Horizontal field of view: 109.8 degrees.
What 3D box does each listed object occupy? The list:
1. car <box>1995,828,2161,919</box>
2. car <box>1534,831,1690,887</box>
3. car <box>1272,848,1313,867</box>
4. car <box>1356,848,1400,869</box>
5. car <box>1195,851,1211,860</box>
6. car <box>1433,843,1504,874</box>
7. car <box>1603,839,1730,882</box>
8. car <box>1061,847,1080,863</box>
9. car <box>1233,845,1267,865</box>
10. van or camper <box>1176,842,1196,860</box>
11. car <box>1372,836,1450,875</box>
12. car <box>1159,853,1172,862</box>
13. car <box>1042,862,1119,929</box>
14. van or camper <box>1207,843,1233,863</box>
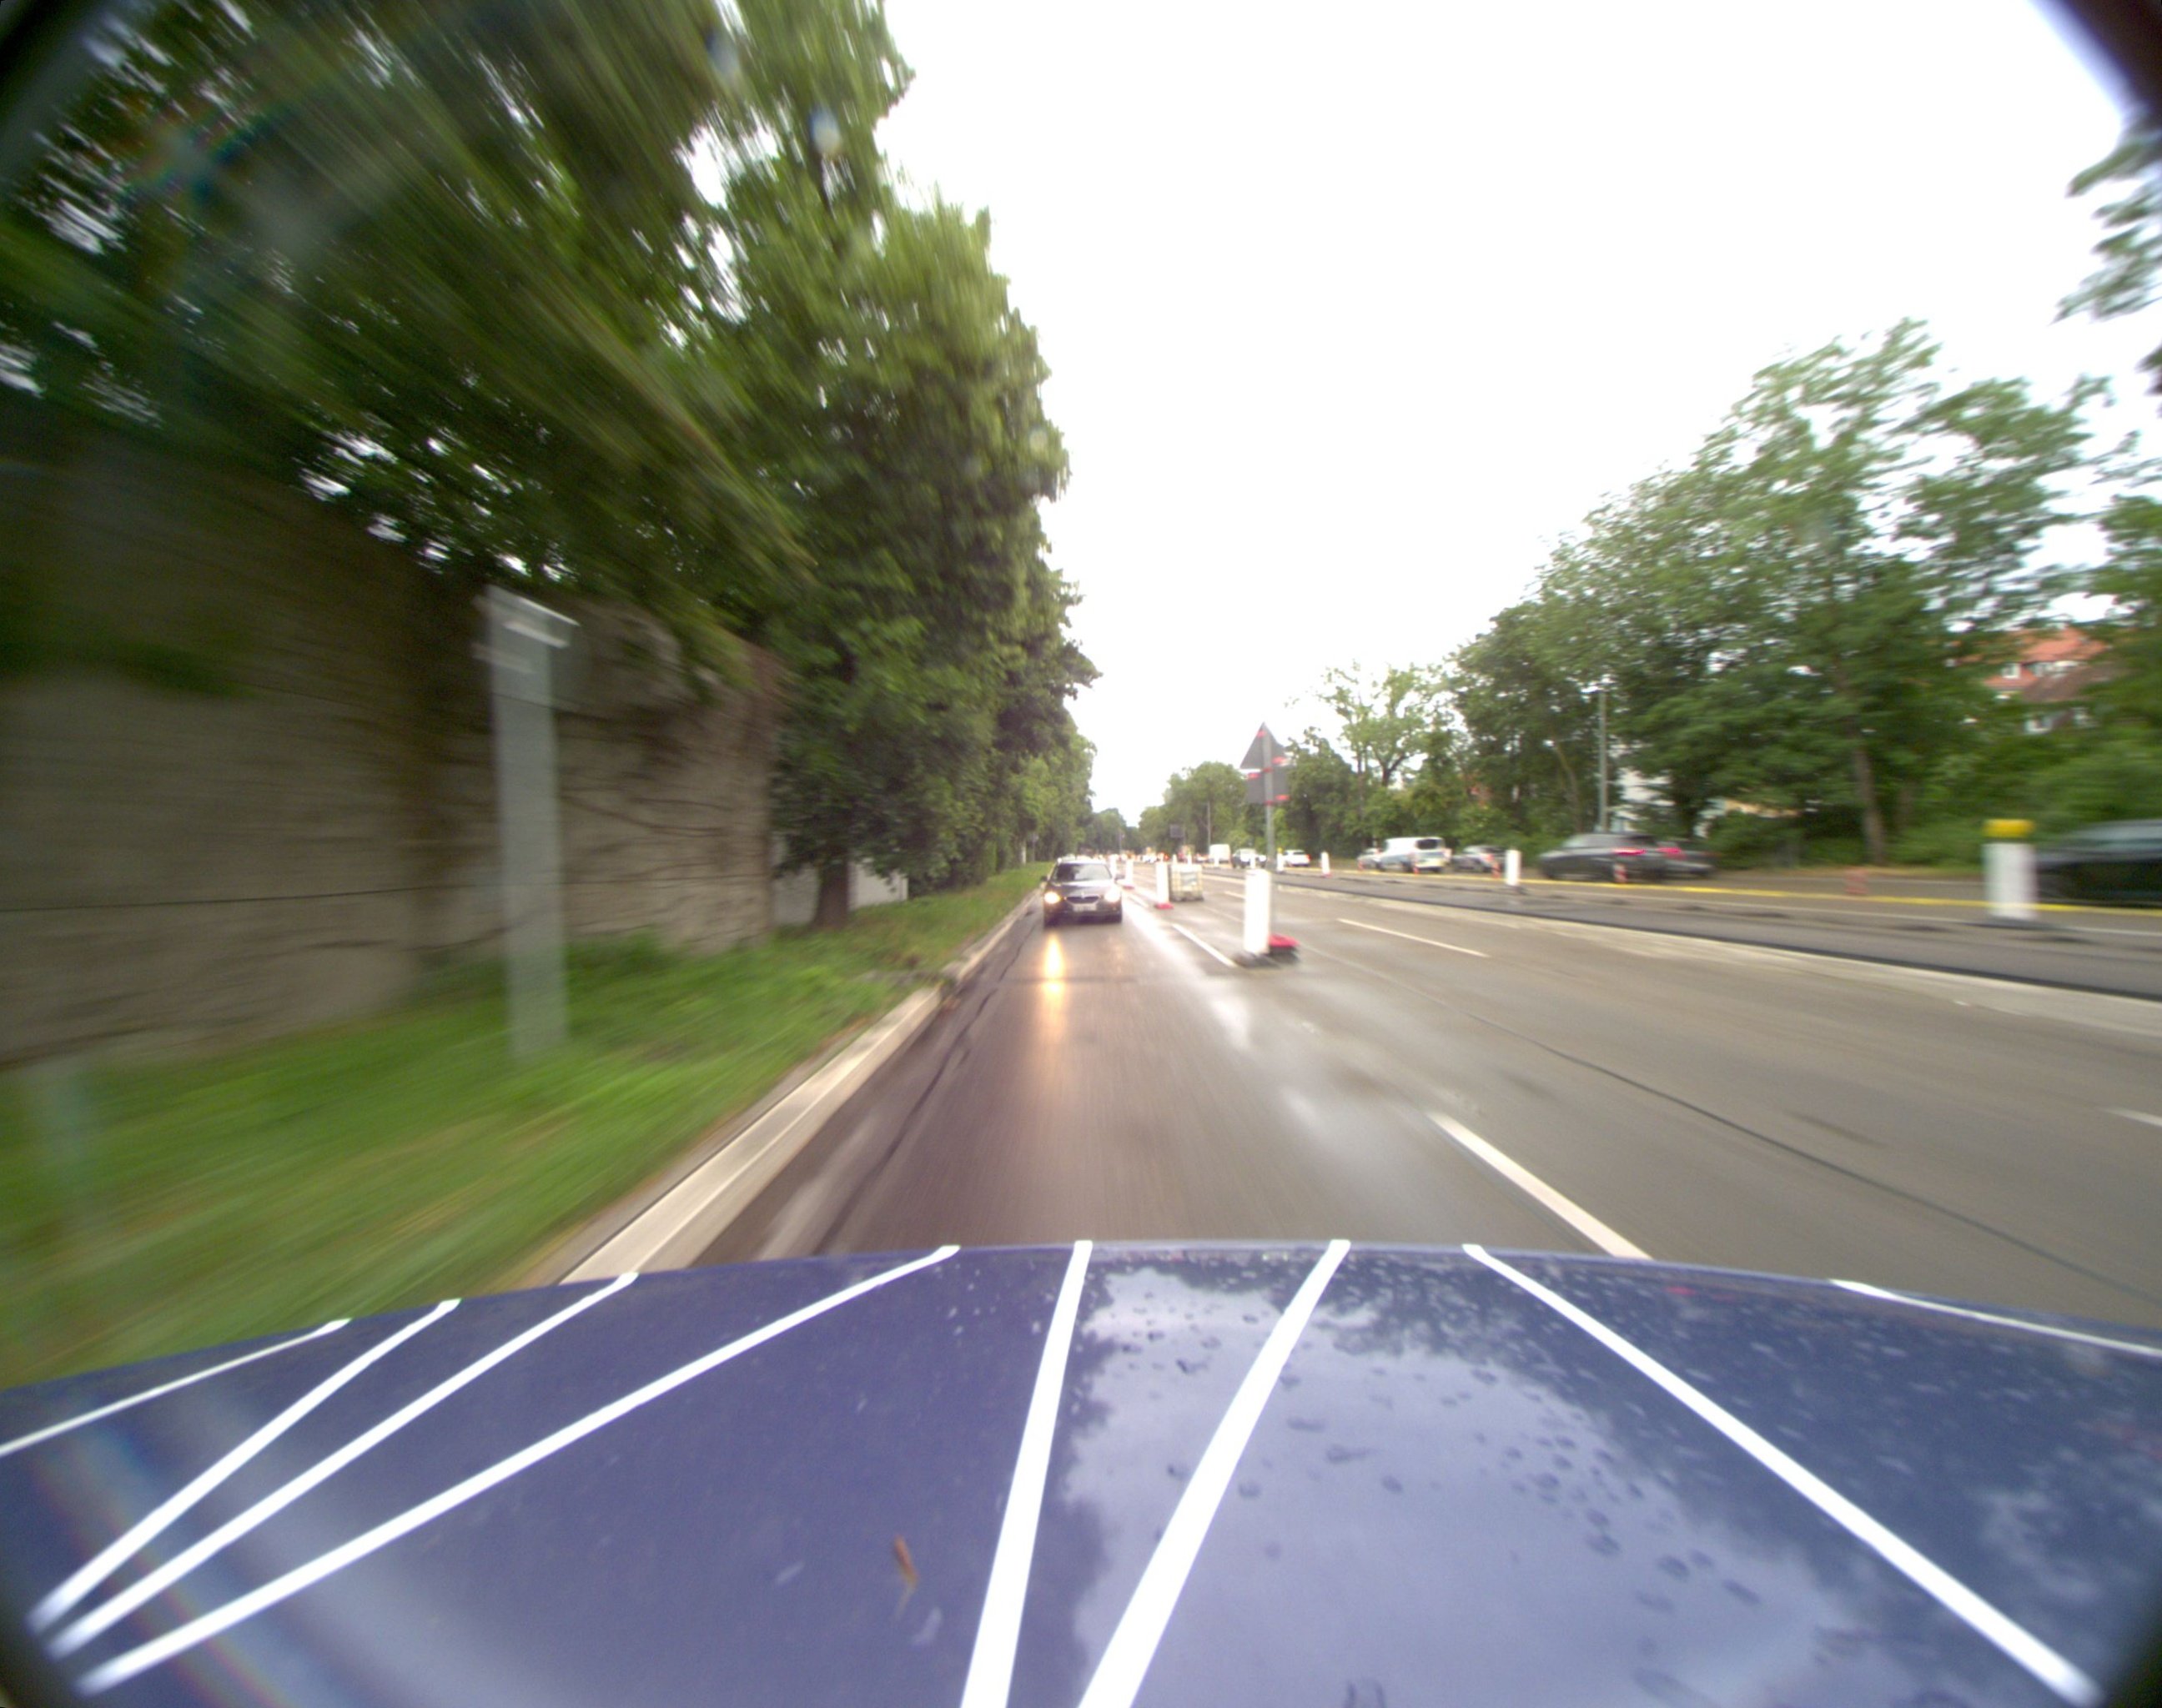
[{"bbox_3d":[18.576,0.302,12.583,1.781,1.479,4.196,-2,0,-1],"label":"car"},{"bbox_3d":[18.560,0.151,26.912,2.026,1.715,5.012,-2,0,0],"label":"car"},{"bbox_3d":[17.813,0.269,64.161,1.999,1.408,4.390,-1,1,-4],"label":"car"},{"bbox_3d":[20.971,0.310,53.759,1.683,1.392,3.639,-2,0,1],"label":"car"},{"bbox_3d":[19.039,0.247,118.795,1.720,1.357,4.081,-1,0,-1],"label":"car"},{"bbox_3d":[21.290,0.219,41.900,1.832,1.612,3.999,-2,1,-1],"label":"car"},{"bbox_3d":[21.471,0.222,28.078,1.649,1.412,4.000,-2,0,1],"label":"car"},{"bbox_3d":[-1.169,0.099,86.816,1.998,1.707,4.000,0,1,1],"label":"car"},{"bbox_3d":[14.600,0.076,65.812,1.998,1.619,4.812,-2,0,2],"label":"car"},{"bbox_3d":[19.015,-0.455,137.451,2.303,3.044,7.451,-2,0,-2],"label":"van or camper"},{"bbox_3d":[18.167,0.086,42.130,1.999,1.960,4.901,-2,0,-2],"label":"car"},{"bbox_3d":[16.811,0.728,151.839,1.999,1.684,4.806,-1,0,-1],"label":"car"},{"bbox_3d":[-0.047,0.920,18.490,1.658,1.409,4.128,0,0,-1],"label":"car"},{"bbox_3d":[19.460,-0.117,106.727,1.999,2.540,7.728,-3,0,-1],"label":"van or camper"}]
